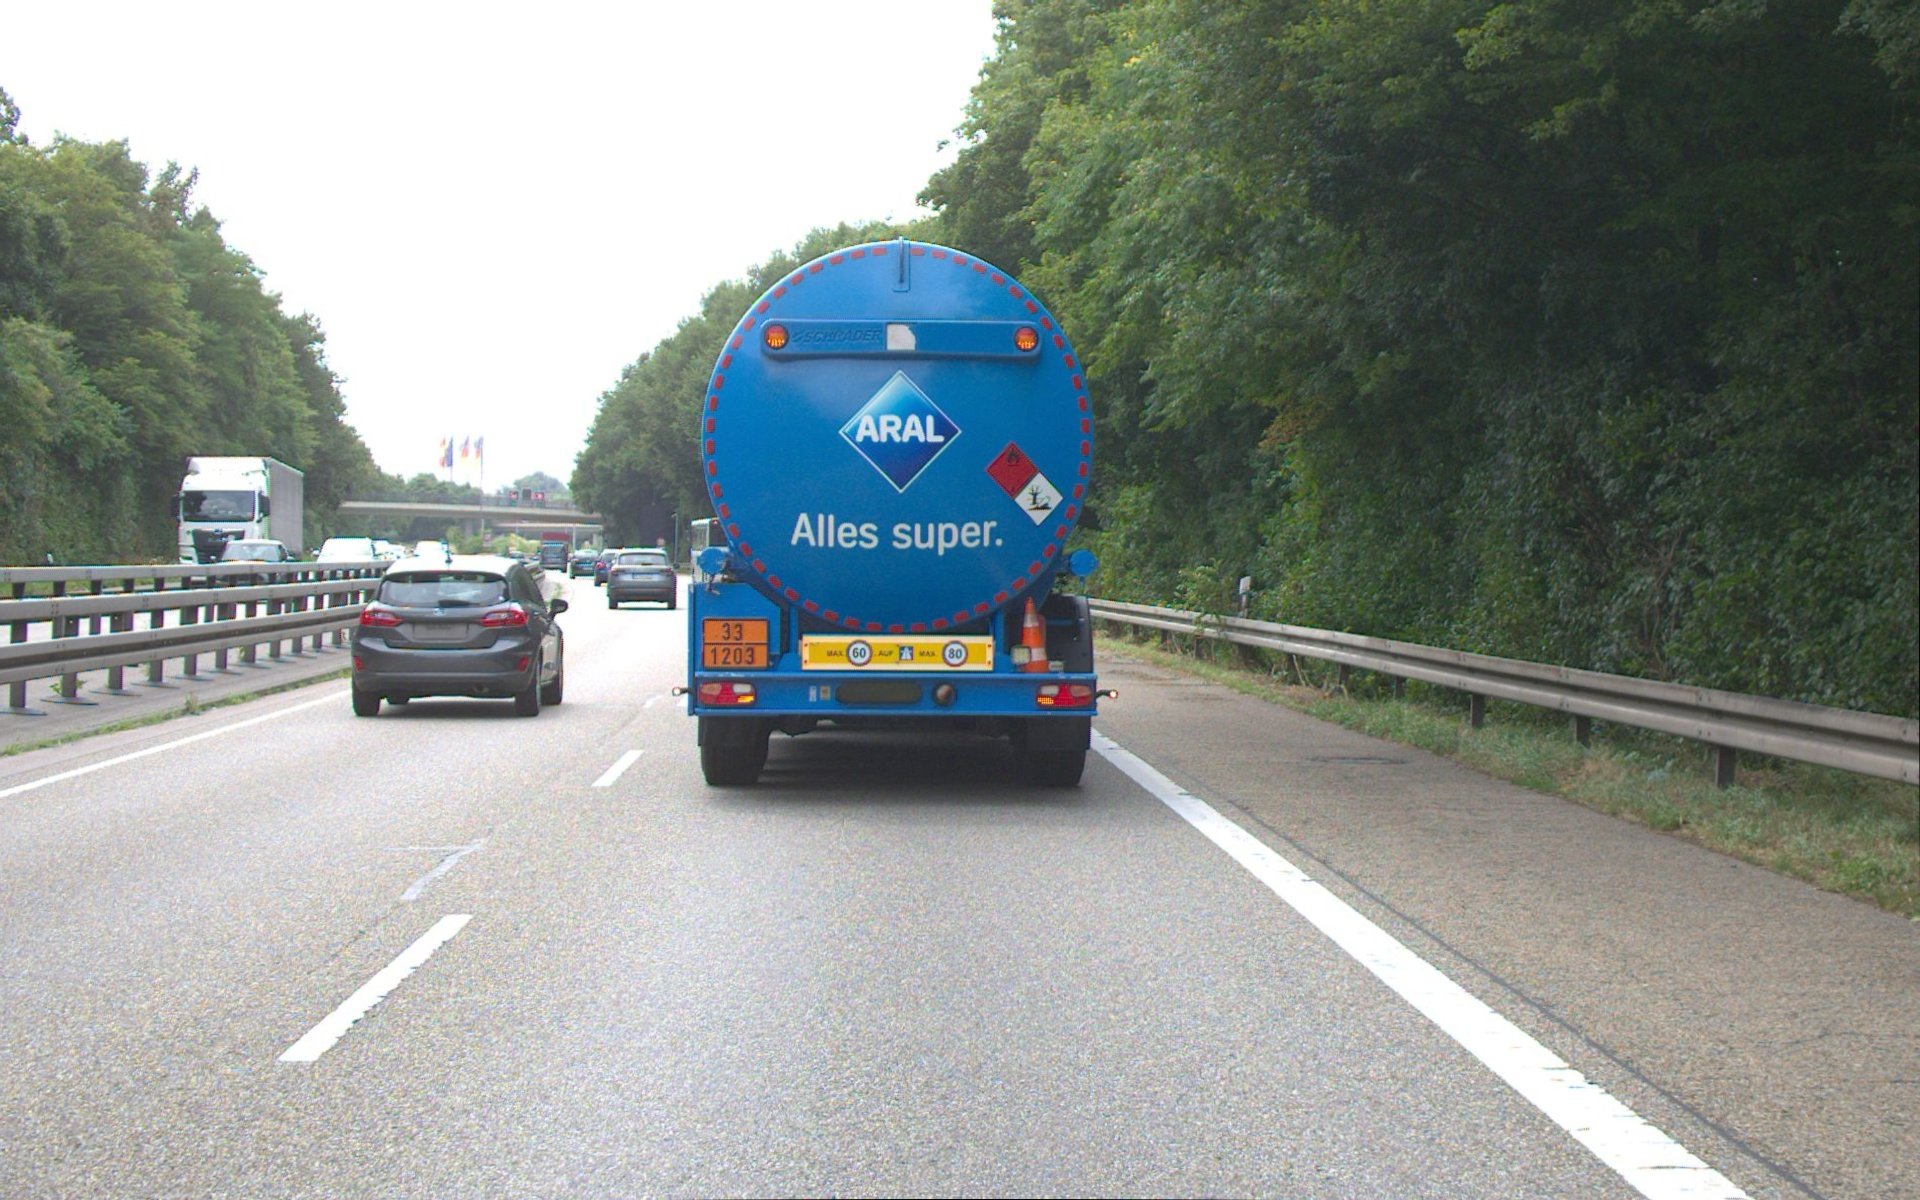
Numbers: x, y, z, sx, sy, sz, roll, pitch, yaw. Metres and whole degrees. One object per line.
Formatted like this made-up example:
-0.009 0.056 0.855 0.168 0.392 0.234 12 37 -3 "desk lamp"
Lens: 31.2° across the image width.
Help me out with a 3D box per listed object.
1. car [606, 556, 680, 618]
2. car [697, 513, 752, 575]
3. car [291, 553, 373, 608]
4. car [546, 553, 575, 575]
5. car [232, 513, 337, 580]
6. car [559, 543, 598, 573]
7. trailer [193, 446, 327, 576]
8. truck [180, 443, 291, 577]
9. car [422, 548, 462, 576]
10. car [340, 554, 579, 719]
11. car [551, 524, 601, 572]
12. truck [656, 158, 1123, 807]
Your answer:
-8.408 -0.364 91.423 1.826 1.604 4.168 0 1 -4 "car"
-8.721 -2.067 126.945 1.993 2.237 4.001 0 1 -4 "car"
-17.929 -0.560 98.261 1.792 1.544 4.129 0 1 -3 "car"
-28.059 -2.546 241.506 1.993 1.547 4.001 0 1 -5 "car"
-14.921 -1.182 76.052 1.708 1.441 3.777 0 1 -2 "car"
-20.170 -2.224 181.821 1.955 1.562 4.001 0 1 -4 "car"
-22.951 -2.832 113.336 2.663 4.032 12.874 0 1 -4 "trailer"
-22.475 -2.751 106.832 2.692 4.049 5.323 0 1 -4 "truck"
-25.903 -1.882 172.011 1.643 1.384 4.291 0 1 -4 "car"
-4.677 0.294 32.694 1.826 1.453 4.640 0 1 -3 "car"
-16.175 -2.180 144.626 1.993 2.007 4.001 0 1 -8 "car"
-0.471 -0.759 24.174 2.755 3.833 7.689 0 1 -1 "truck"
